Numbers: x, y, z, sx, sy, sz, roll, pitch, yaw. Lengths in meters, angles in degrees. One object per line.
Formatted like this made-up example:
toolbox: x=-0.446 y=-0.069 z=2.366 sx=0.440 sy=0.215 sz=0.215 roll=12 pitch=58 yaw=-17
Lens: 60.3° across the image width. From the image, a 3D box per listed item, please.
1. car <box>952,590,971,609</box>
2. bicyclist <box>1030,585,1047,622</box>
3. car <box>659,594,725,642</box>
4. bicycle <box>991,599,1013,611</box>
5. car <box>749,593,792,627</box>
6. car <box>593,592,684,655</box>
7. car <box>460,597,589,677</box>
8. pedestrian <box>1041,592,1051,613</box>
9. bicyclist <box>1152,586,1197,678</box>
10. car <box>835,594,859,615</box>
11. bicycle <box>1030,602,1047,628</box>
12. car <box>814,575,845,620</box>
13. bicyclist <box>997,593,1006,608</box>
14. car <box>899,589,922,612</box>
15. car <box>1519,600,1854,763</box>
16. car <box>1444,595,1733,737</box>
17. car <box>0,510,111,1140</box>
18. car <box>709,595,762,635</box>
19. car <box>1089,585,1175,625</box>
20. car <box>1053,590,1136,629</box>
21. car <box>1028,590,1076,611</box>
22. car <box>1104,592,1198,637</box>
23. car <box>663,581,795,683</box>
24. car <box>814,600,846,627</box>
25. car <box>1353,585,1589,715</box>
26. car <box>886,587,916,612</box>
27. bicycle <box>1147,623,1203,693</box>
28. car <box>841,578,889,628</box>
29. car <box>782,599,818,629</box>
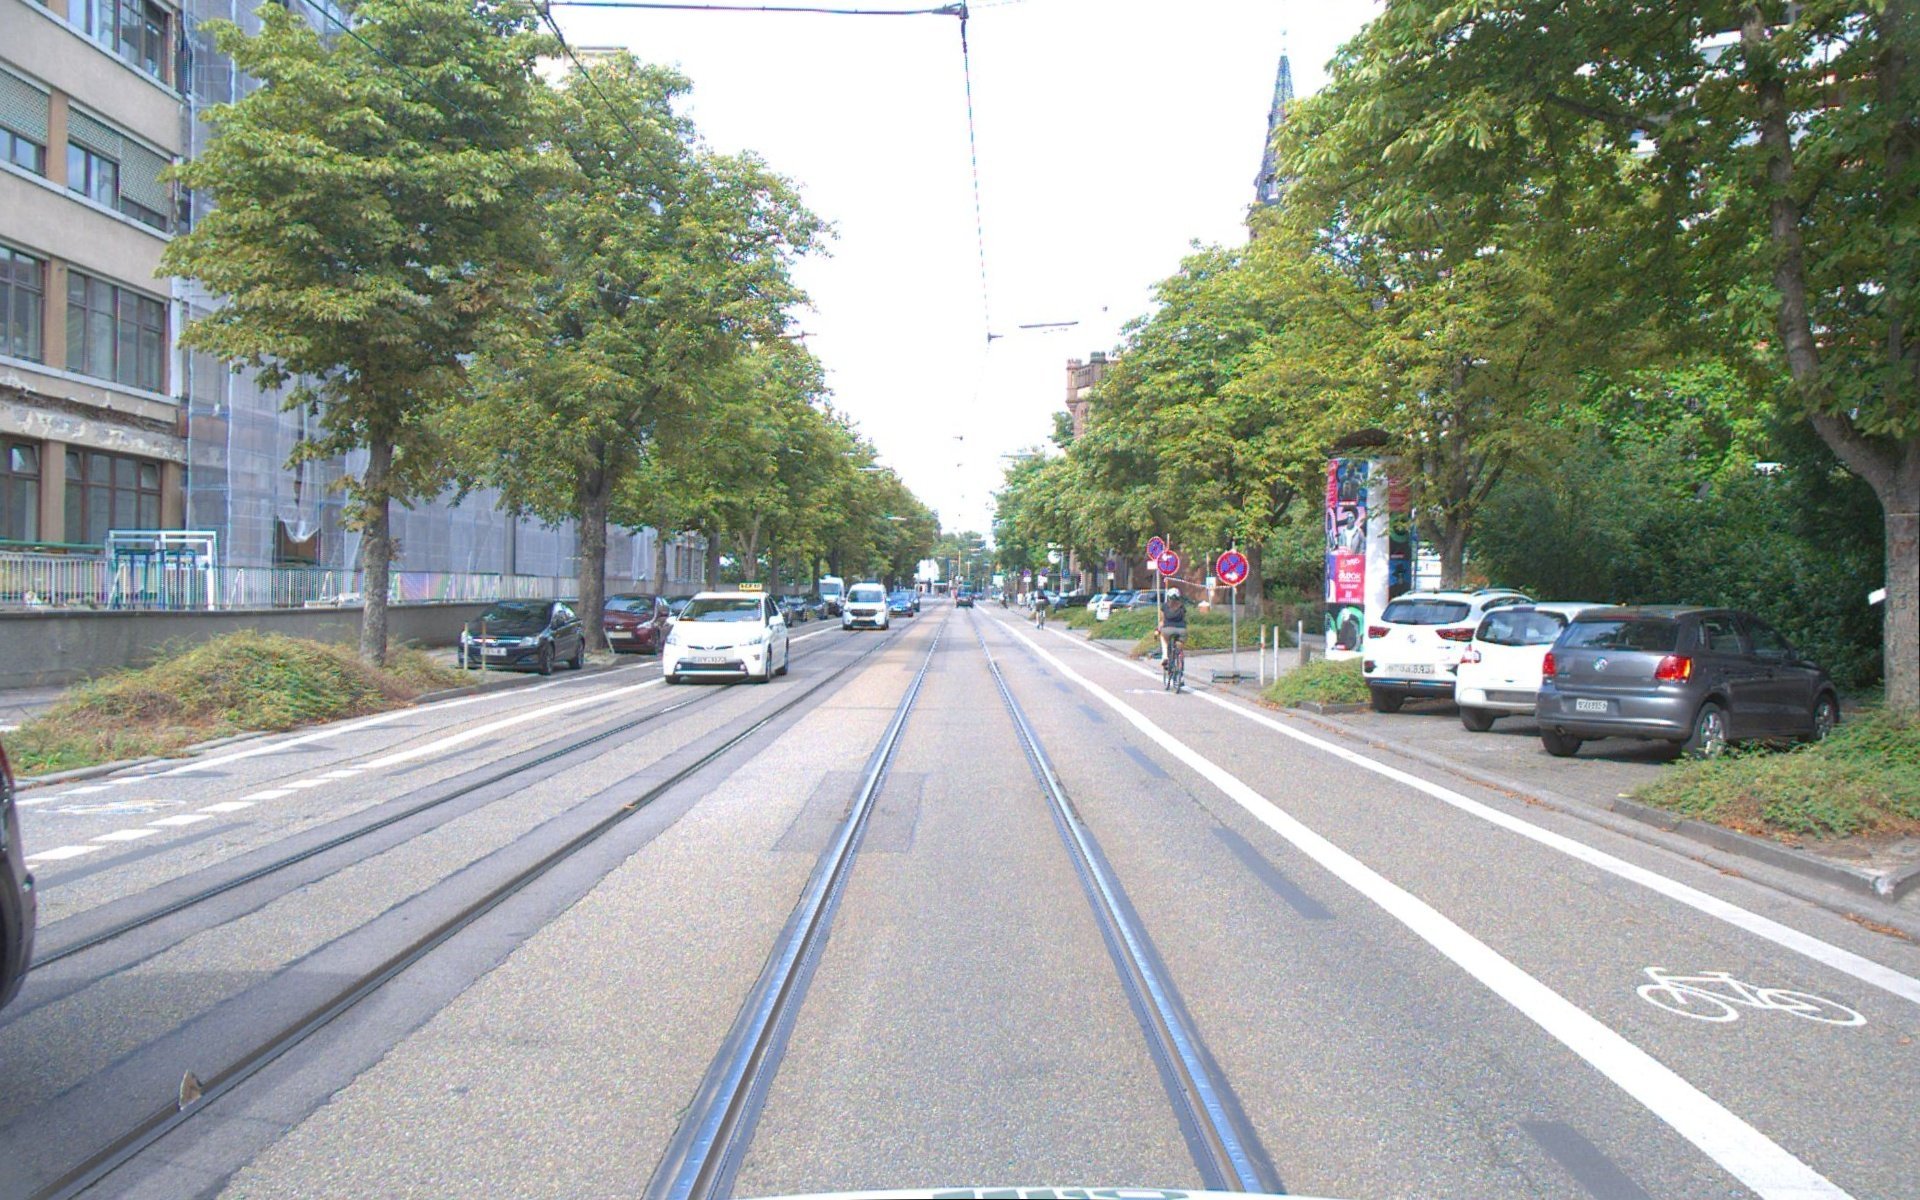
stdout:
car: x=0.115 y=-0.038 z=163.802 sx=1.758 sy=1.855 sz=4.677 roll=1 pitch=0 yaw=-1
bicyclist: x=3.307 y=0.152 z=69.406 sx=0.645 sy=1.522 sz=0.929 roll=1 pitch=0 yaw=0
car: x=-8.384 y=0.538 z=51.976 sx=1.558 sy=1.427 sz=3.961 roll=1 pitch=0 yaw=-2
bicycle: x=4.240 y=0.513 z=167.059 sx=2.226 sy=1.210 sz=0.769 roll=1 pitch=0 yaw=7
car: x=-8.298 y=0.436 z=72.588 sx=1.558 sy=1.427 sz=3.961 roll=1 pitch=0 yaw=-2
car: x=-8.267 y=0.566 z=42.777 sx=1.602 sy=1.522 sz=3.962 roll=1 pitch=0 yaw=-1
car: x=-8.383 y=0.678 z=32.116 sx=1.558 sy=1.427 sz=3.961 roll=1 pitch=0 yaw=-2
pedestrian: x=7.508 y=0.247 z=144.568 sx=0.732 sy=1.821 sz=0.731 roll=1 pitch=-1 yaw=15
bicyclist: x=3.527 y=0.519 z=27.218 sx=0.581 sy=1.485 sz=0.875 roll=1 pitch=0 yaw=-2
car: x=-8.129 y=0.305 z=118.842 sx=1.558 sy=1.427 sz=3.961 roll=1 pitch=0 yaw=-2
bicycle: x=3.296 y=0.620 z=69.403 sx=0.650 sy=1.062 sz=1.841 roll=1 pitch=0 yaw=0
car: x=-8.368 y=-0.158 z=106.355 sx=1.686 sy=2.751 sz=5.468 roll=1 pitch=0 yaw=-2
bicyclist: x=4.212 y=0.037 z=167.069 sx=0.828 sy=1.531 sz=0.769 roll=1 pitch=0 yaw=7
car: x=-3.765 y=0.025 z=126.154 sx=1.697 sy=1.657 sz=4.377 roll=-1 pitch=0 yaw=-1
car: x=7.303 y=0.745 z=16.507 sx=3.612 sy=1.444 sz=1.658 roll=1 pitch=0 yaw=-40
car: x=7.433 y=0.720 z=19.436 sx=3.612 sy=1.500 sz=1.658 roll=1 pitch=0 yaw=-40
car: x=-3.394 y=0.584 z=2.656 sx=1.810 sy=1.640 sz=4.334 roll=1 pitch=0 yaw=0
car: x=-8.415 y=0.541 z=62.288 sx=1.558 sy=1.427 sz=3.961 roll=1 pitch=0 yaw=-2
car: x=7.147 y=0.214 z=68.492 sx=1.654 sy=1.630 sz=3.621 roll=0 pitch=0 yaw=44
car: x=5.757 y=0.411 z=70.617 sx=1.654 sy=1.630 sz=3.621 roll=0 pitch=0 yaw=44
car: x=8.067 y=0.040 z=144.871 sx=3.910 sy=1.722 sz=1.998 roll=1 pitch=0 yaw=-6
car: x=7.145 y=0.529 z=61.692 sx=1.654 sy=1.630 sz=3.621 roll=0 pitch=0 yaw=44
car: x=-3.931 y=0.506 z=28.719 sx=1.697 sy=1.640 sz=4.334 roll=0 pitch=0 yaw=0
car: x=-7.287 y=0.737 z=93.016 sx=1.558 sy=1.427 sz=3.961 roll=1 pitch=0 yaw=-2
car: x=7.046 y=0.636 z=22.647 sx=1.654 sy=1.630 sz=3.621 roll=0 pitch=0 yaw=44
car: x=-3.589 y=-0.057 z=101.251 sx=1.697 sy=1.522 sz=4.378 roll=0 pitch=1 yaw=0
bicycle: x=3.517 y=0.928 z=27.216 sx=0.581 sy=1.062 sz=1.977 roll=1 pitch=0 yaw=-2
car: x=-3.741 y=0.102 z=65.497 sx=1.697 sy=1.917 sz=4.377 roll=1 pitch=0 yaw=-1
car: x=-7.992 y=0.680 z=82.811 sx=1.558 sy=1.427 sz=3.961 roll=1 pitch=0 yaw=-2
